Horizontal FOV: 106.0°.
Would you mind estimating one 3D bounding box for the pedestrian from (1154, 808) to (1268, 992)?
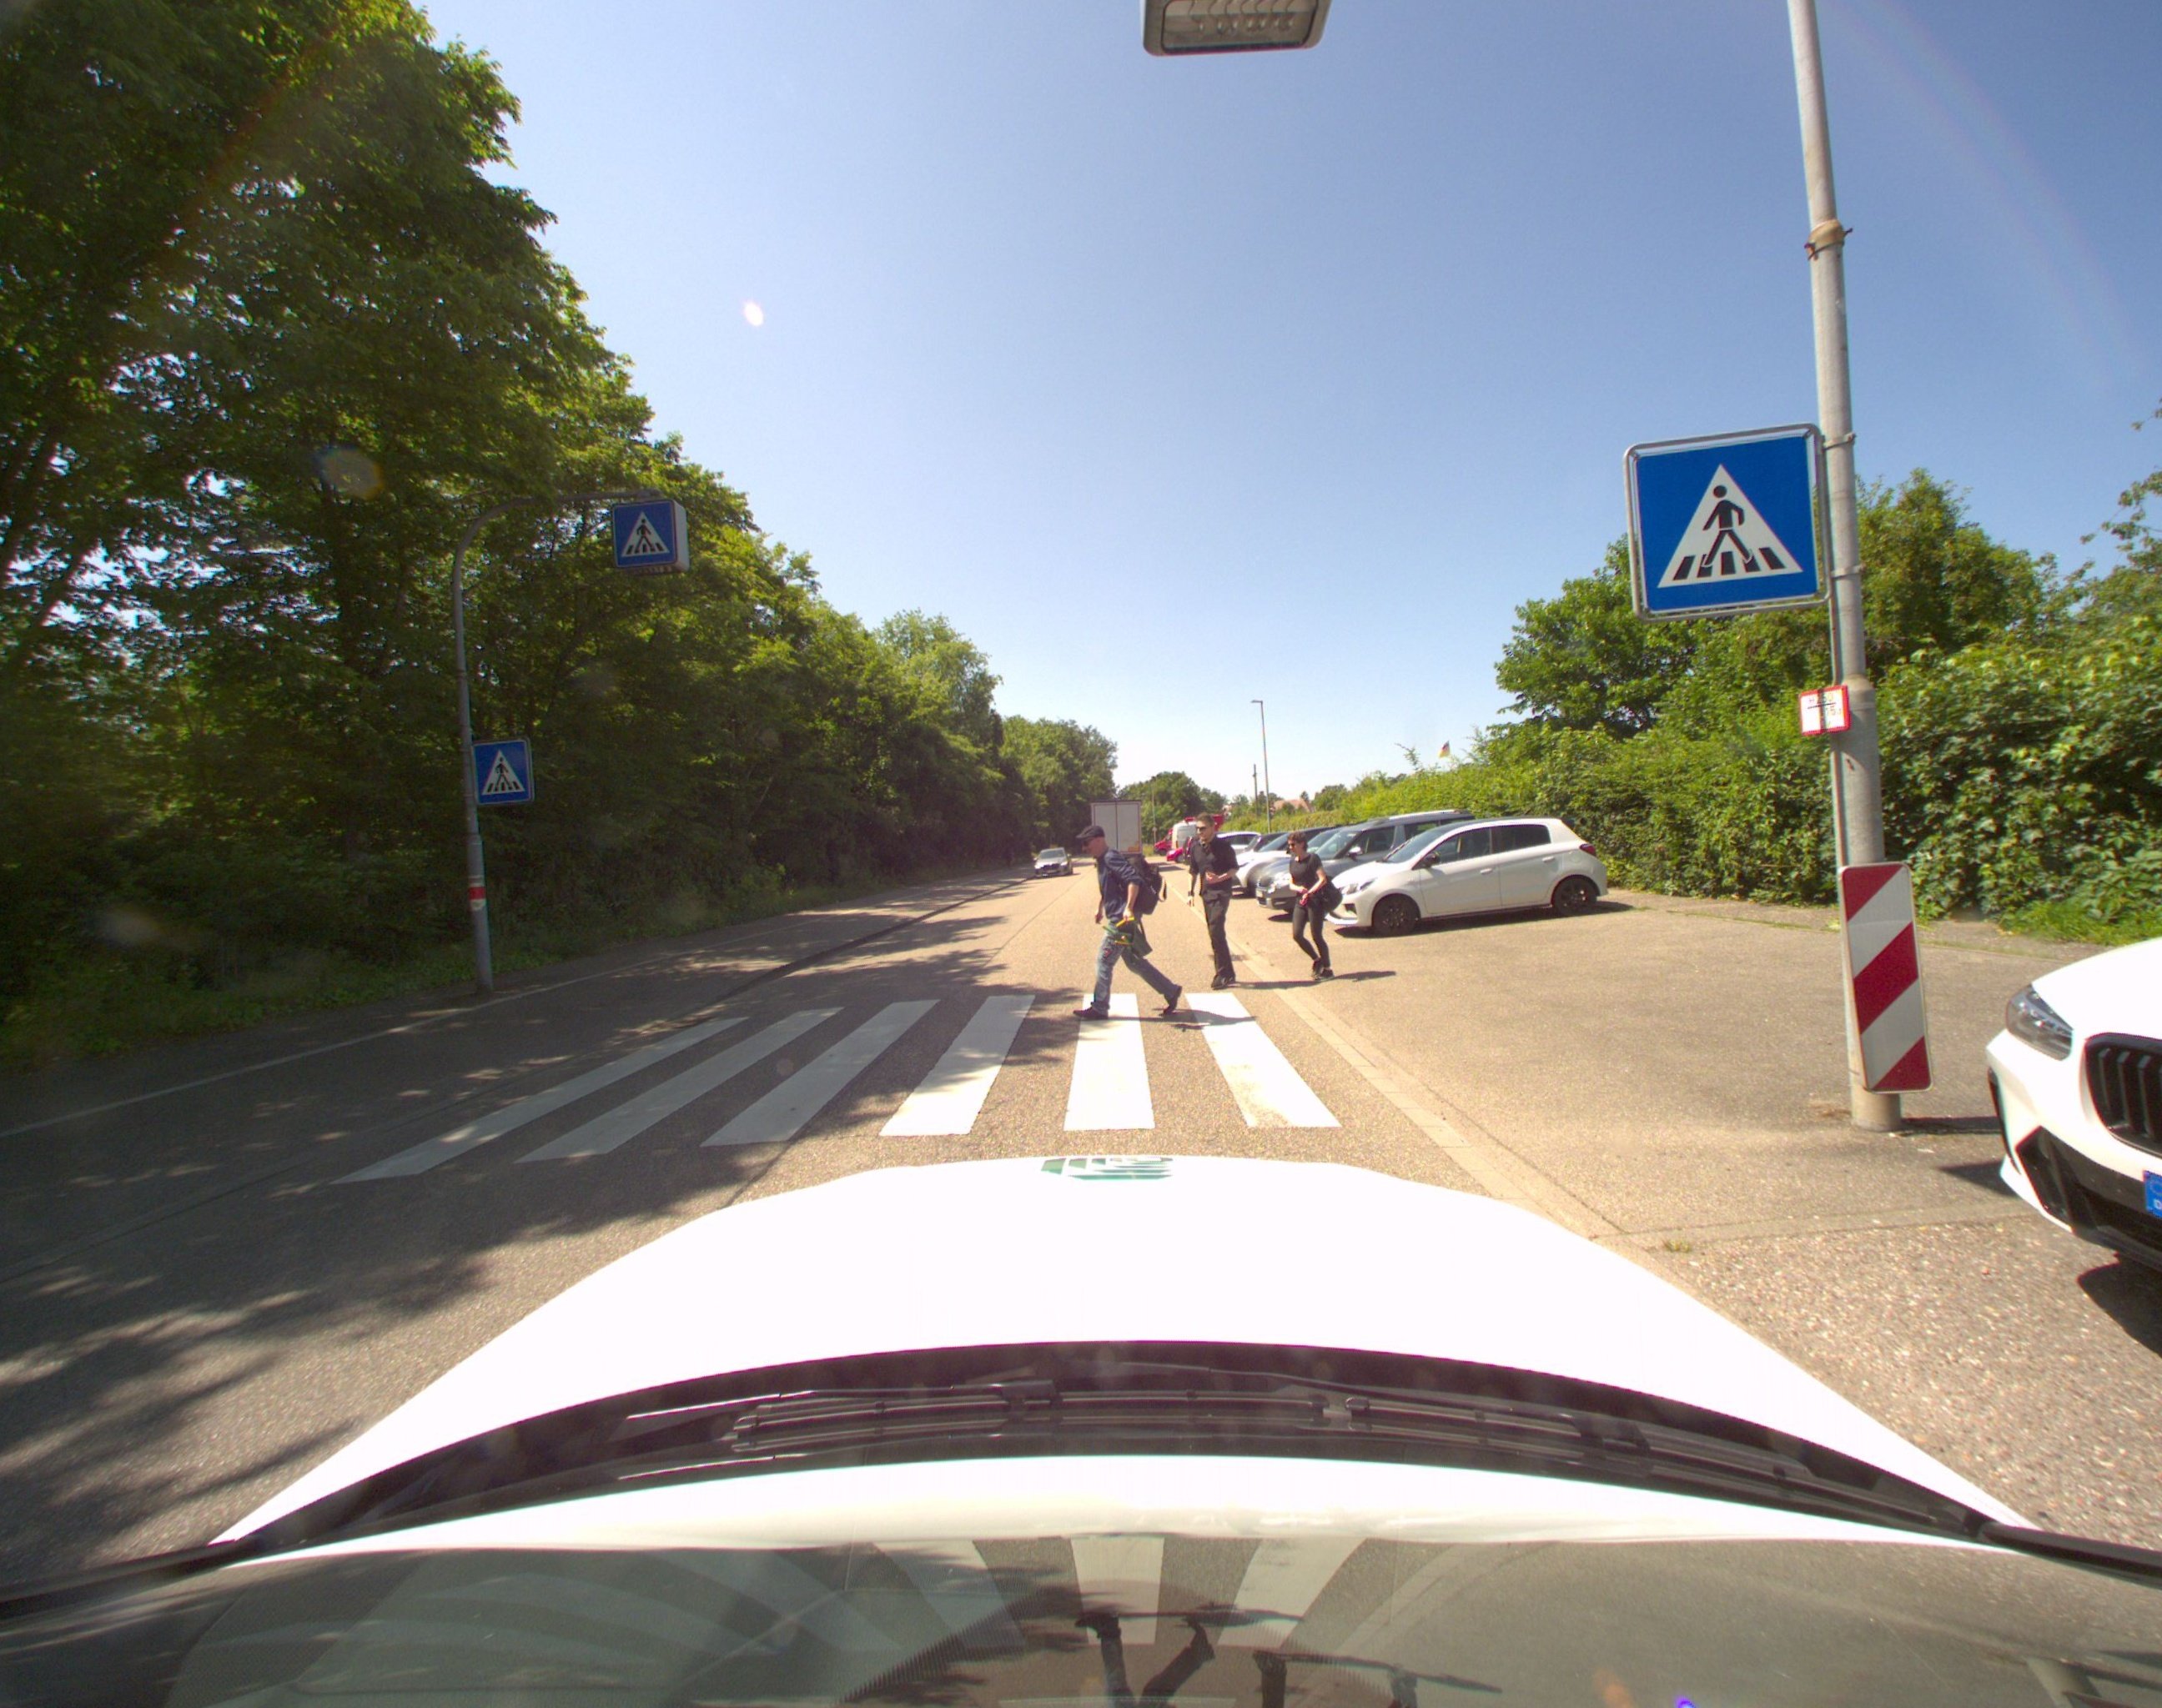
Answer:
[{"bbox_3d":[1.433,0.461,8.932,0.774,1.864,1.093,1,1,41],"label":"pedestrian"}]

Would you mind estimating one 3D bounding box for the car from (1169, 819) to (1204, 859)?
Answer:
[{"bbox_3d":[8.071,-1.189,62.819,1.946,2.733,7.175,-6,1,4],"label":"car"}]

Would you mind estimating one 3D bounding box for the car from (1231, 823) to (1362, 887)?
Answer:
[{"bbox_3d":[6.210,0.010,23.744,3.371,1.503,1.590,-5,1,5],"label":"car"}]

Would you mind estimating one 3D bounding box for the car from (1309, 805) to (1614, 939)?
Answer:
[{"bbox_3d":[5.463,0.238,12.085,3.671,1.450,1.613,-7,1,6],"label":"car"}]

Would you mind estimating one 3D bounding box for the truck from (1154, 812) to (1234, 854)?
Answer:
[{"bbox_3d":[10.693,-1.975,76.795,7.087,3.439,2.339,-3,1,13],"label":"truck"}]

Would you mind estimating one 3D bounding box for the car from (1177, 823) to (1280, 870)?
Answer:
[{"bbox_3d":[7.089,-0.358,39.396,4.441,1.804,1.951,-6,0,-2],"label":"car"}]

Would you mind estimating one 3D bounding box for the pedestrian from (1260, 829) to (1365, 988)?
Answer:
[{"bbox_3d":[2.521,0.553,8.846,0.771,1.611,0.902,-1,0,41],"label":"pedestrian"}]

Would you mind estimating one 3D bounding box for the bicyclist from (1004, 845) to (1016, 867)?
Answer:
[{"bbox_3d":[-5.199,0.143,59.499,0.645,1.565,0.838,-3,0,6],"label":"bicyclist"}]

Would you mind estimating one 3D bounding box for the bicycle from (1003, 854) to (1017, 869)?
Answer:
[{"bbox_3d":[-5.176,0.569,59.486,0.558,1.027,1.842,-3,1,7],"label":"bicycle"}]

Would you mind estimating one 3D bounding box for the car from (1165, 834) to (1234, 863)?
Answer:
[{"bbox_3d":[7.556,-0.362,52.308,4.042,1.434,1.835,-6,1,-1],"label":"car"}]

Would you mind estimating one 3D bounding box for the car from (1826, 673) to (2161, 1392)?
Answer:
[{"bbox_3d":[4.754,0.249,1.749,4.436,1.729,1.852,-5,0,2],"label":"car"}]

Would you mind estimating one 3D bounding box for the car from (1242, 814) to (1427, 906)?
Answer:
[{"bbox_3d":[5.499,0.118,17.895,3.445,1.527,1.538,-7,1,-3],"label":"car"}]

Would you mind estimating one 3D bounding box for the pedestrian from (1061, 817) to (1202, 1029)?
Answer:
[{"bbox_3d":[0.418,0.573,7.348,1.151,1.751,1.023,-1,0,-1],"label":"pedestrian"}]

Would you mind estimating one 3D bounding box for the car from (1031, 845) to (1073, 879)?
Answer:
[{"bbox_3d":[-1.529,0.369,44.416,1.884,1.532,4.198,-7,1,1],"label":"car"}]

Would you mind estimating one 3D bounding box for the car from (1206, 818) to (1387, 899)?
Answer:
[{"bbox_3d":[5.410,0.088,20.768,3.954,1.522,1.862,-7,1,-4],"label":"car"}]

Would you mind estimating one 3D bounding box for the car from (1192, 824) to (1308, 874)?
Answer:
[{"bbox_3d":[6.830,-0.209,33.186,4.262,1.578,1.765,-6,1,0],"label":"car"}]

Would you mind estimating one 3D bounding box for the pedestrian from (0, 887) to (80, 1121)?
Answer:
[{"bbox_3d":[-8.038,1.079,5.674,0.929,1.612,0.886,-2,1,1],"label":"pedestrian"}]

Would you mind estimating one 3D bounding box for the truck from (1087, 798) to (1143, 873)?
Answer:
[{"bbox_3d":[2.147,-1.021,48.200,2.722,3.745,13.258,-2,1,3],"label":"truck"}]

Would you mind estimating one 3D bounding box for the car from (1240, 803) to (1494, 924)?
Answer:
[{"bbox_3d":[5.144,0.153,14.971,3.952,1.640,1.662,-7,1,-3],"label":"car"}]
